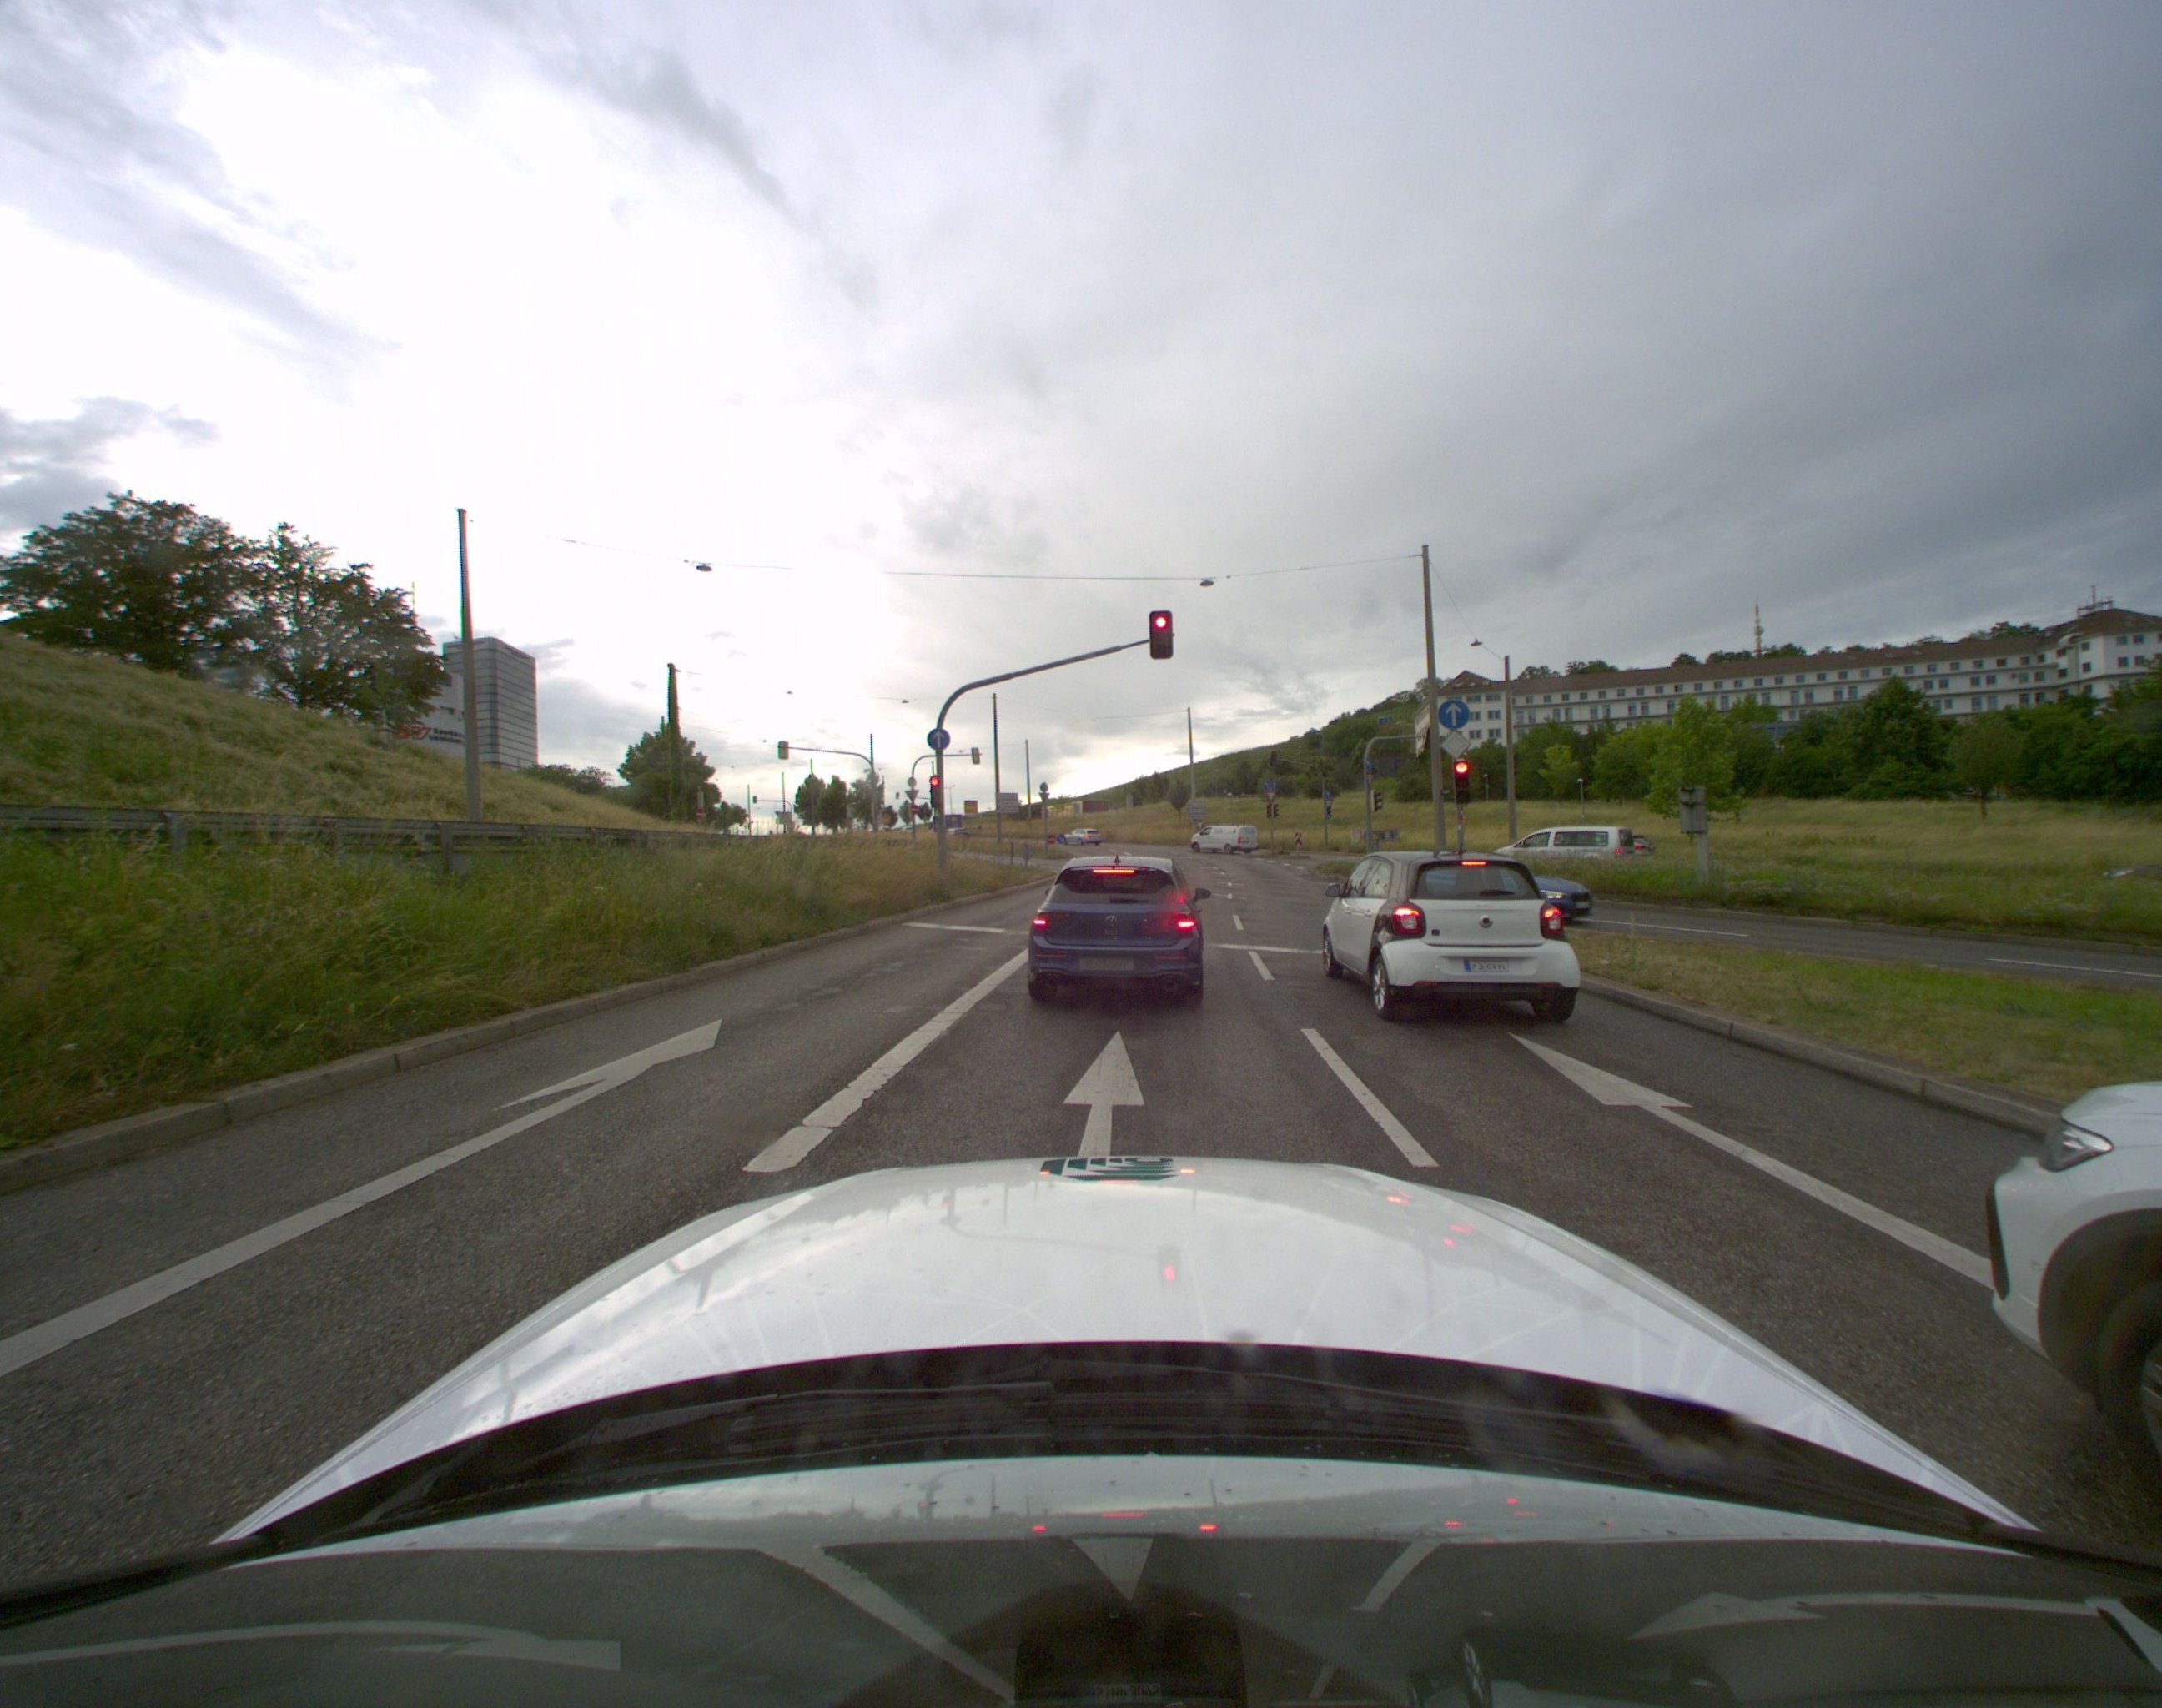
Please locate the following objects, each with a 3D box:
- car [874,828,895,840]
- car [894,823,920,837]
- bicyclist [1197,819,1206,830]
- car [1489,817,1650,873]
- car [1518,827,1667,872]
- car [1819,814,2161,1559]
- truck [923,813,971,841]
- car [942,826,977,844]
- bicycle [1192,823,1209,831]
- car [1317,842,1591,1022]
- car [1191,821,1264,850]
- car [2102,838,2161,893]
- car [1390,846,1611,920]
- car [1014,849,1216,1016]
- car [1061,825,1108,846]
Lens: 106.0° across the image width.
[{"bbox_3d":[-29.729,-3.073,123.091,2.005,1.659,4.503,0,-1,-28],"label":"car"},{"bbox_3d":[-23.504,-3.183,109.854,2.007,1.659,4.498,0,-1,-32],"label":"car"},{"bbox_3d":[11.418,-2.804,77.098,0.527,1.046,0.574,2,0,-39],"label":"bicyclist"},{"bbox_3d":[17.650,-0.272,29.634,1.830,1.850,4.645,0,-1,-38],"label":"car"},{"bbox_3d":[19.706,-0.133,31.537,2.010,1.620,4.473,0,-1,-38],"label":"car"},{"bbox_3d":[3.115,0.676,0.365,1.708,1.553,4.228,0,-1,-1],"label":"car"},{"bbox_3d":[-15.823,-3.144,95.761,3.281,3.074,6.112,2,0,-34],"label":"truck"},{"bbox_3d":[-12.562,-1.950,84.171,2.007,1.659,4.309,0,-1,-32],"label":"car"},{"bbox_3d":[11.350,-2.538,77.186,0.522,0.775,1.602,2,1,-39],"label":"bicycle"},{"bbox_3d":[3.624,0.667,8.578,1.649,1.503,3.457,-1,-1,7],"label":"car"},{"bbox_3d":[9.781,-1.185,54.629,2.144,1.794,4.691,0,-1,-34],"label":"car"},{"bbox_3d":[30.529,0.295,21.381,2.007,1.477,4.457,0,-1,-32],"label":"car"},{"bbox_3d":[9.355,0.614,18.561,1.704,1.475,4.253,0,-1,-28],"label":"car"},{"bbox_3d":[0.523,0.697,9.263,1.815,1.460,3.816,0,1,7],"label":"car"},{"bbox_3d":[0.266,-1.594,71.267,2.007,1.659,4.498,0,-1,-32],"label":"car"}]
